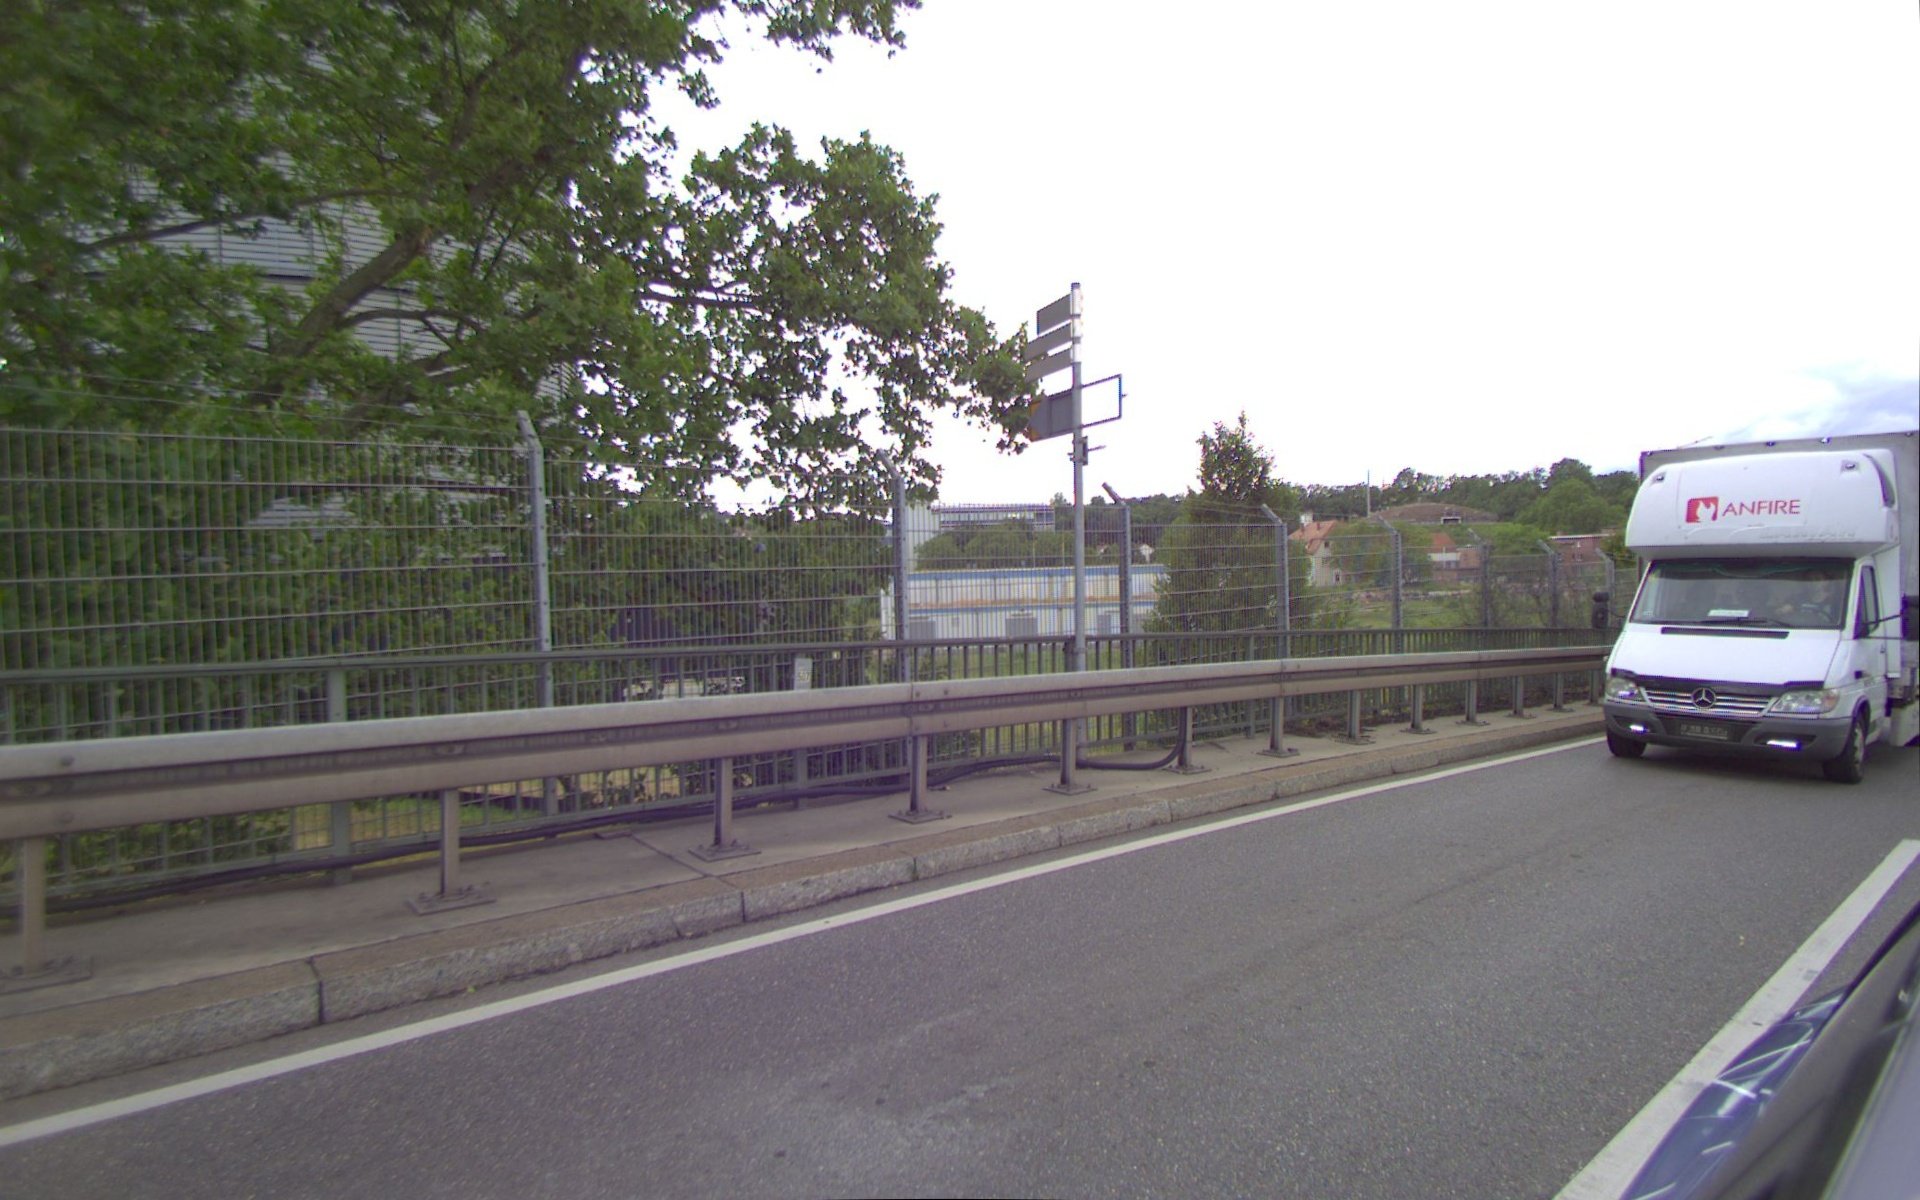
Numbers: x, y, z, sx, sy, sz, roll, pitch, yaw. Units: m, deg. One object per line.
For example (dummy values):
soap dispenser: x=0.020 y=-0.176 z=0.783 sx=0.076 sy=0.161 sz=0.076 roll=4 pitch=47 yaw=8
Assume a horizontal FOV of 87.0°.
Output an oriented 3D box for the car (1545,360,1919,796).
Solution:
car: x=9.204 y=-0.222 z=11.133 sx=6.966 sy=3.371 sz=2.664 roll=-1 pitch=1 yaw=-41
